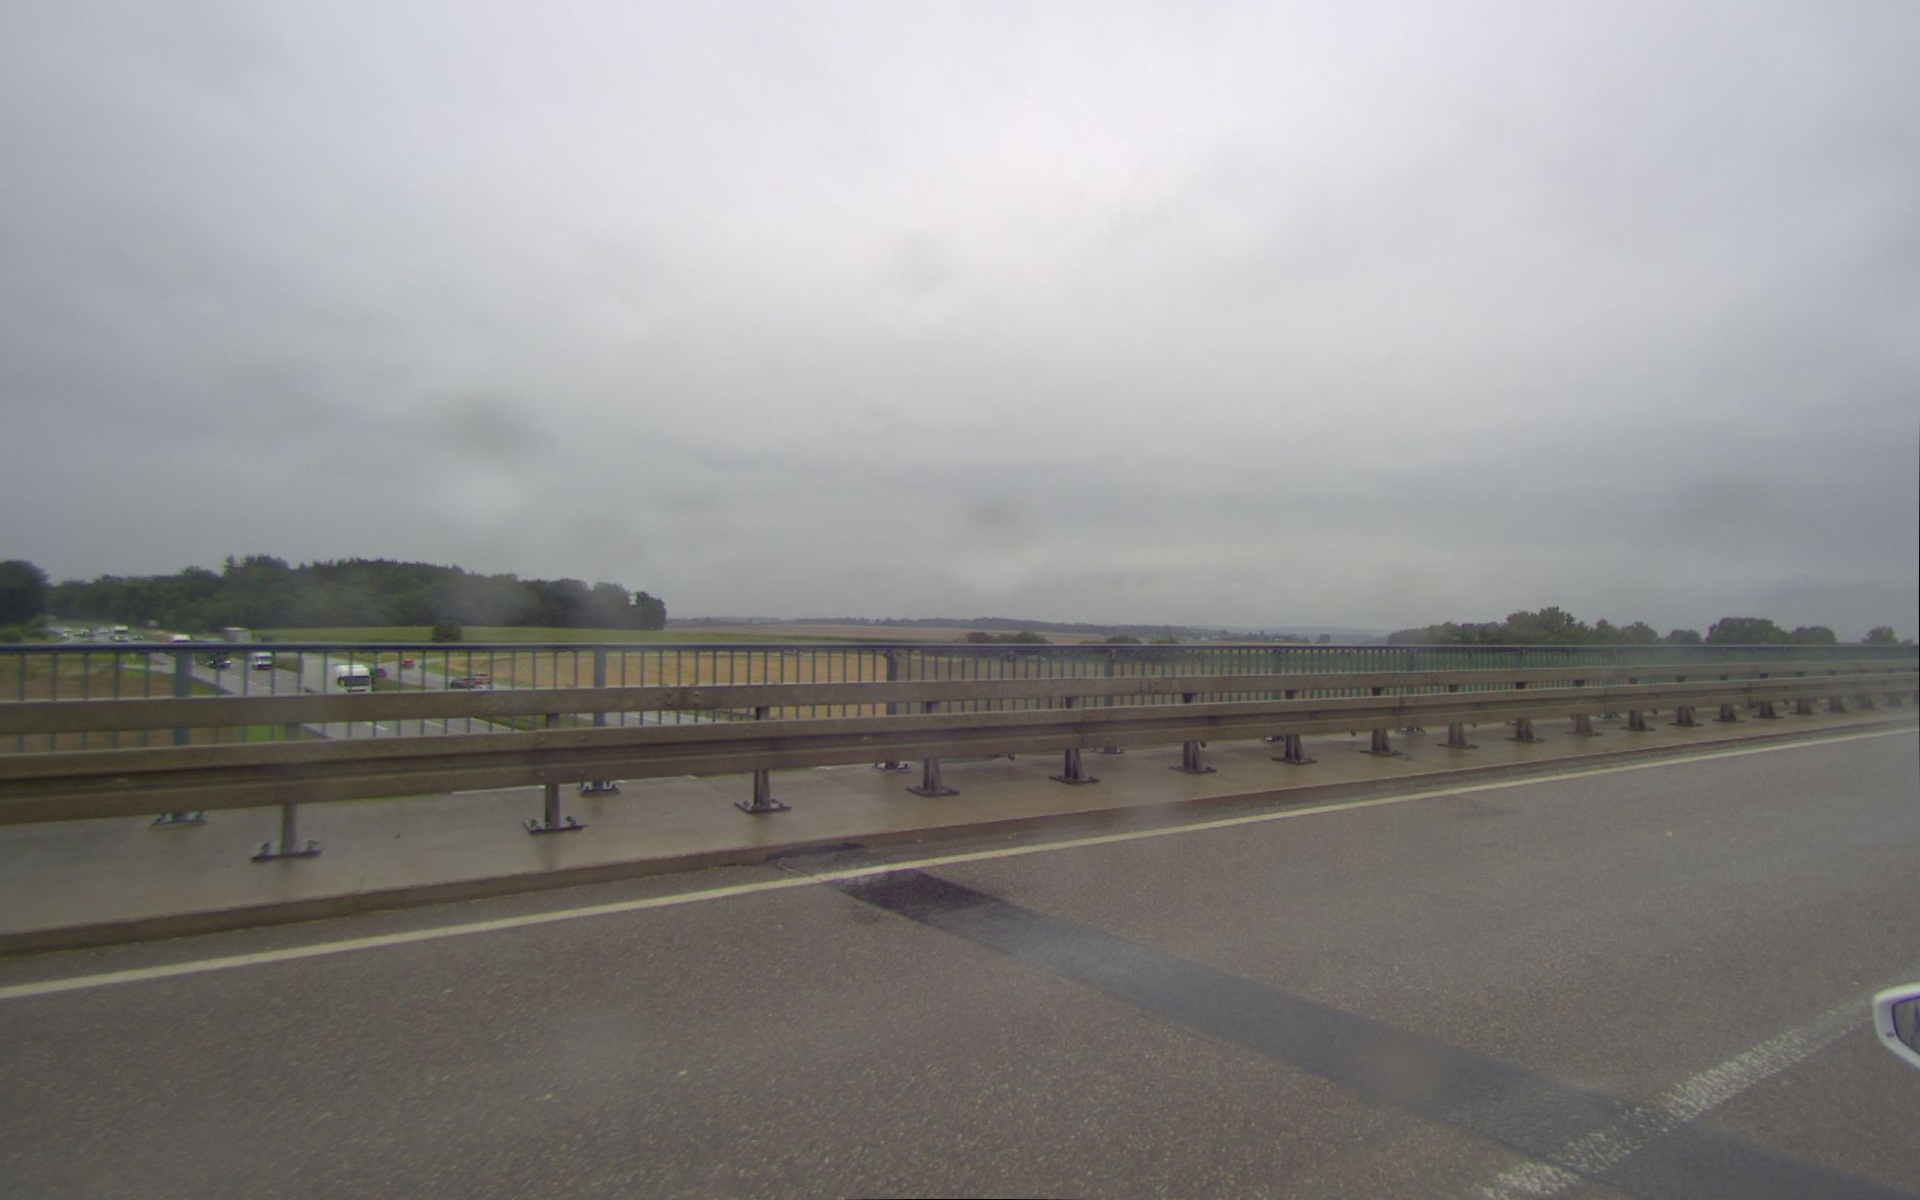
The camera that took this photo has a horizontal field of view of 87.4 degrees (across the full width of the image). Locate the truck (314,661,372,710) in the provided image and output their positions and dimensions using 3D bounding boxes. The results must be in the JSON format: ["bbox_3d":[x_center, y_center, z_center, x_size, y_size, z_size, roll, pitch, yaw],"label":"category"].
[{"bbox_3d":[-59.233,8.100,96.254,2.766,3.920,10.512,3,-2,-42],"label":"truck"}]

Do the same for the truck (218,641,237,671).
[{"bbox_3d":[-114.883,8.721,157.520,2.220,3.749,9.745,0,2,-37],"label":"truck"}]
